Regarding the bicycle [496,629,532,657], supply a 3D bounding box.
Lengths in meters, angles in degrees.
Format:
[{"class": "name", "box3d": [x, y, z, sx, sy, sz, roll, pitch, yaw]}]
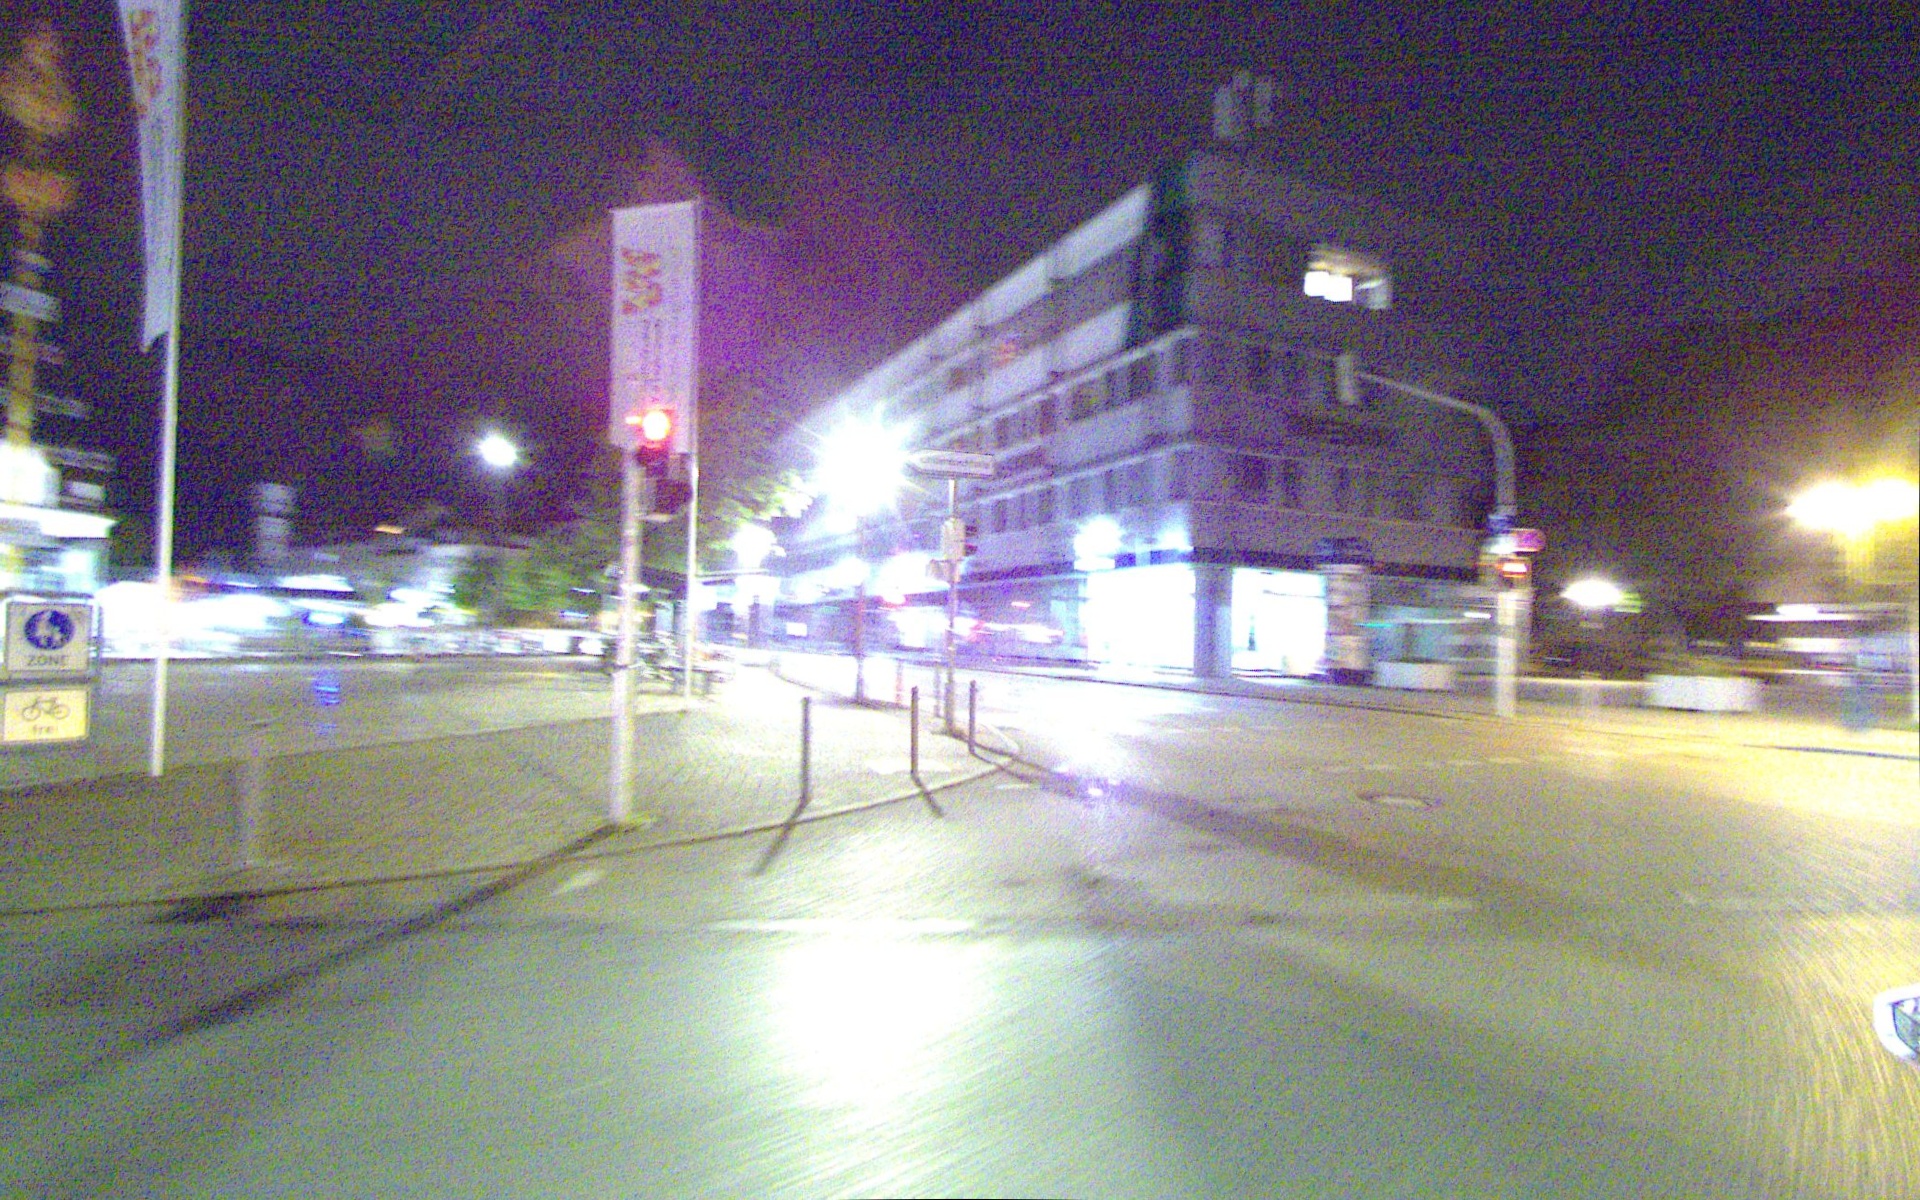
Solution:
[{"class": "bicycle", "box3d": [-19.239, 1.844, 43.285, 1.718, 1.181, 0.607, 0, 0, 34]}]

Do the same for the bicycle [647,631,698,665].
[{"class": "bicycle", "box3d": [-9.895, 1.658, 34.526, 1.599, 1.120, 0.666, 2, -3, -24]}]

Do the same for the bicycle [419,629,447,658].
[{"class": "bicycle", "box3d": [-21.726, 1.784, 41.408, 0.604, 1.115, 1.726, 1, 0, -41]}]

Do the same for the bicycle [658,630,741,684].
[{"class": "bicycle", "box3d": [-6.233, 1.360, 24.036, 1.811, 1.172, 0.784, 4, -3, -19]}]

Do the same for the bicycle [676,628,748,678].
[{"class": "bicycle", "box3d": [-6.520, 1.389, 26.393, 1.714, 1.181, 0.784, 4, -2, -19]}]

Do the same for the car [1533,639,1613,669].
[{"class": "car", "box3d": [32.220, 2.806, 52.779, 3.952, 1.470, 1.909, 1, 0, -30]}]

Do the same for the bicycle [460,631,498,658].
[{"class": "bicycle", "box3d": [-20.443, 1.867, 42.666, 1.716, 1.084, 0.608, 0, 0, 31]}]

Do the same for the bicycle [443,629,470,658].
[{"class": "bicycle", "box3d": [-21.094, 1.825, 42.065, 0.604, 1.140, 1.726, 1, 0, -41]}]

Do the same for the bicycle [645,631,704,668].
[{"class": "bicycle", "box3d": [-9.266, 1.601, 32.556, 1.750, 1.179, 0.666, 1, -2, -24]}]

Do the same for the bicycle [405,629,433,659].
[{"class": "bicycle", "box3d": [-21.899, 1.765, 40.653, 0.604, 1.181, 1.726, 1, 0, -41]}]

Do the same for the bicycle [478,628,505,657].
[{"class": "bicycle", "box3d": [-20.350, 1.828, 43.615, 0.604, 1.181, 1.726, 1, 0, -41]}]

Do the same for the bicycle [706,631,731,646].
[{"class": "bicycle", "box3d": [-17.869, 2.846, 74.249, 0.646, 1.076, 1.746, 0, -2, 41]}]

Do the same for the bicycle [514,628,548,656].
[{"class": "bicycle", "box3d": [-18.972, 1.862, 44.435, 1.718, 1.170, 0.543, 0, 0, 34]}]

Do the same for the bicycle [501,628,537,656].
[{"class": "bicycle", "box3d": [-19.381, 1.848, 44.124, 1.718, 1.181, 0.607, 0, 0, 34]}]

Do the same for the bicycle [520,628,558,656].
[{"class": "bicycle", "box3d": [-19.010, 1.890, 45.313, 1.718, 1.177, 0.759, 0, 0, 34]}]

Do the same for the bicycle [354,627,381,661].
[{"class": "bicycle", "box3d": [-23.101, 1.696, 39.141, 0.604, 1.235, 1.726, 1, 0, -41]}]

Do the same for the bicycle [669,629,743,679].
[{"class": "bicycle", "box3d": [-6.474, 1.370, 25.558, 1.714, 1.172, 0.784, 4, -3, -19]}]
